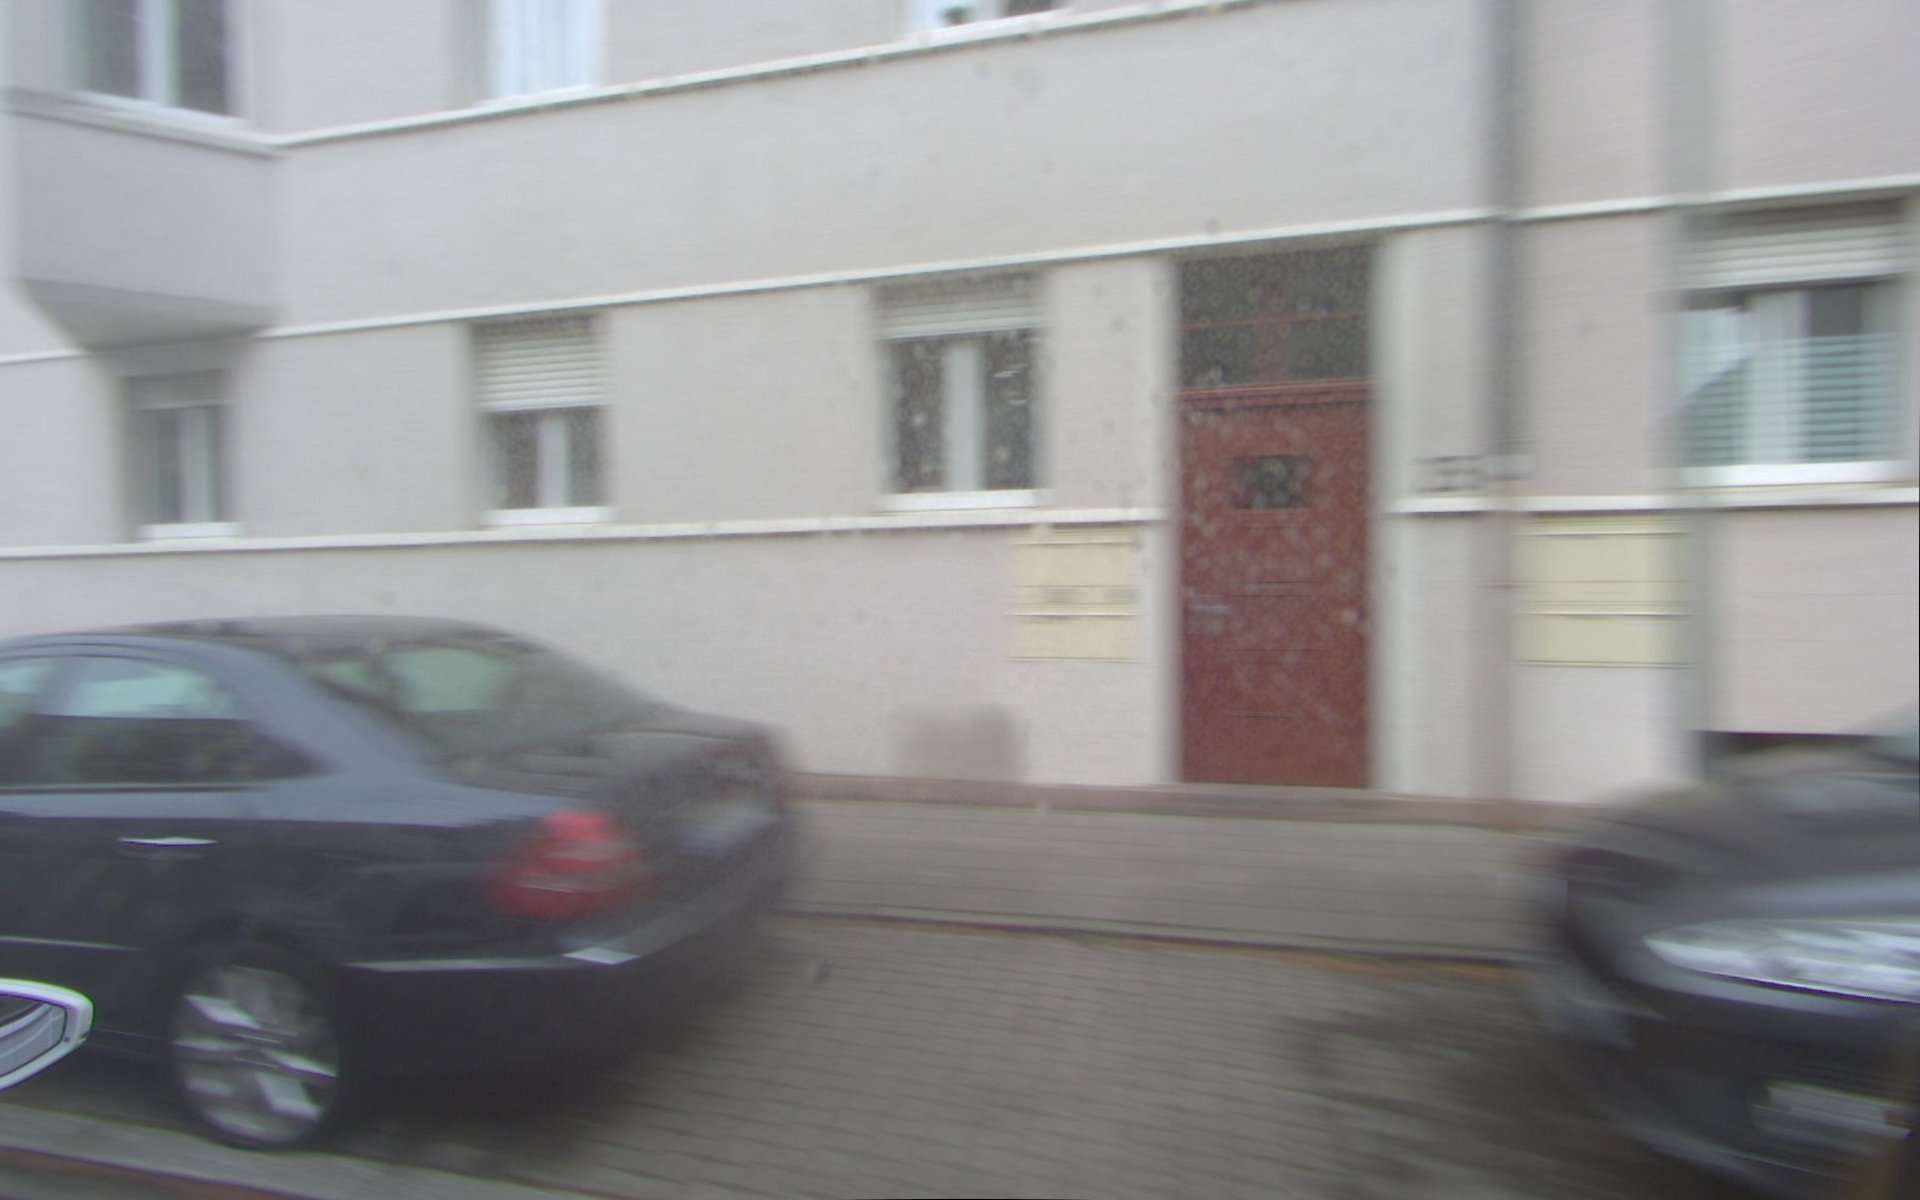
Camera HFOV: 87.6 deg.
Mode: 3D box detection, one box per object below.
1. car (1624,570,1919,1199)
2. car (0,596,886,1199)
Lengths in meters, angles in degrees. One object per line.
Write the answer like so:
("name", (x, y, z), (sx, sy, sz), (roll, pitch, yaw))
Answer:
("car", (4.005, 0.711, 2.057), (4.003, 1.546, 1.760), (0, 1, 14))
("car", (-2.855, 0.717, 3.674), (4.857, 1.440, 1.748), (0, 1, 14))
